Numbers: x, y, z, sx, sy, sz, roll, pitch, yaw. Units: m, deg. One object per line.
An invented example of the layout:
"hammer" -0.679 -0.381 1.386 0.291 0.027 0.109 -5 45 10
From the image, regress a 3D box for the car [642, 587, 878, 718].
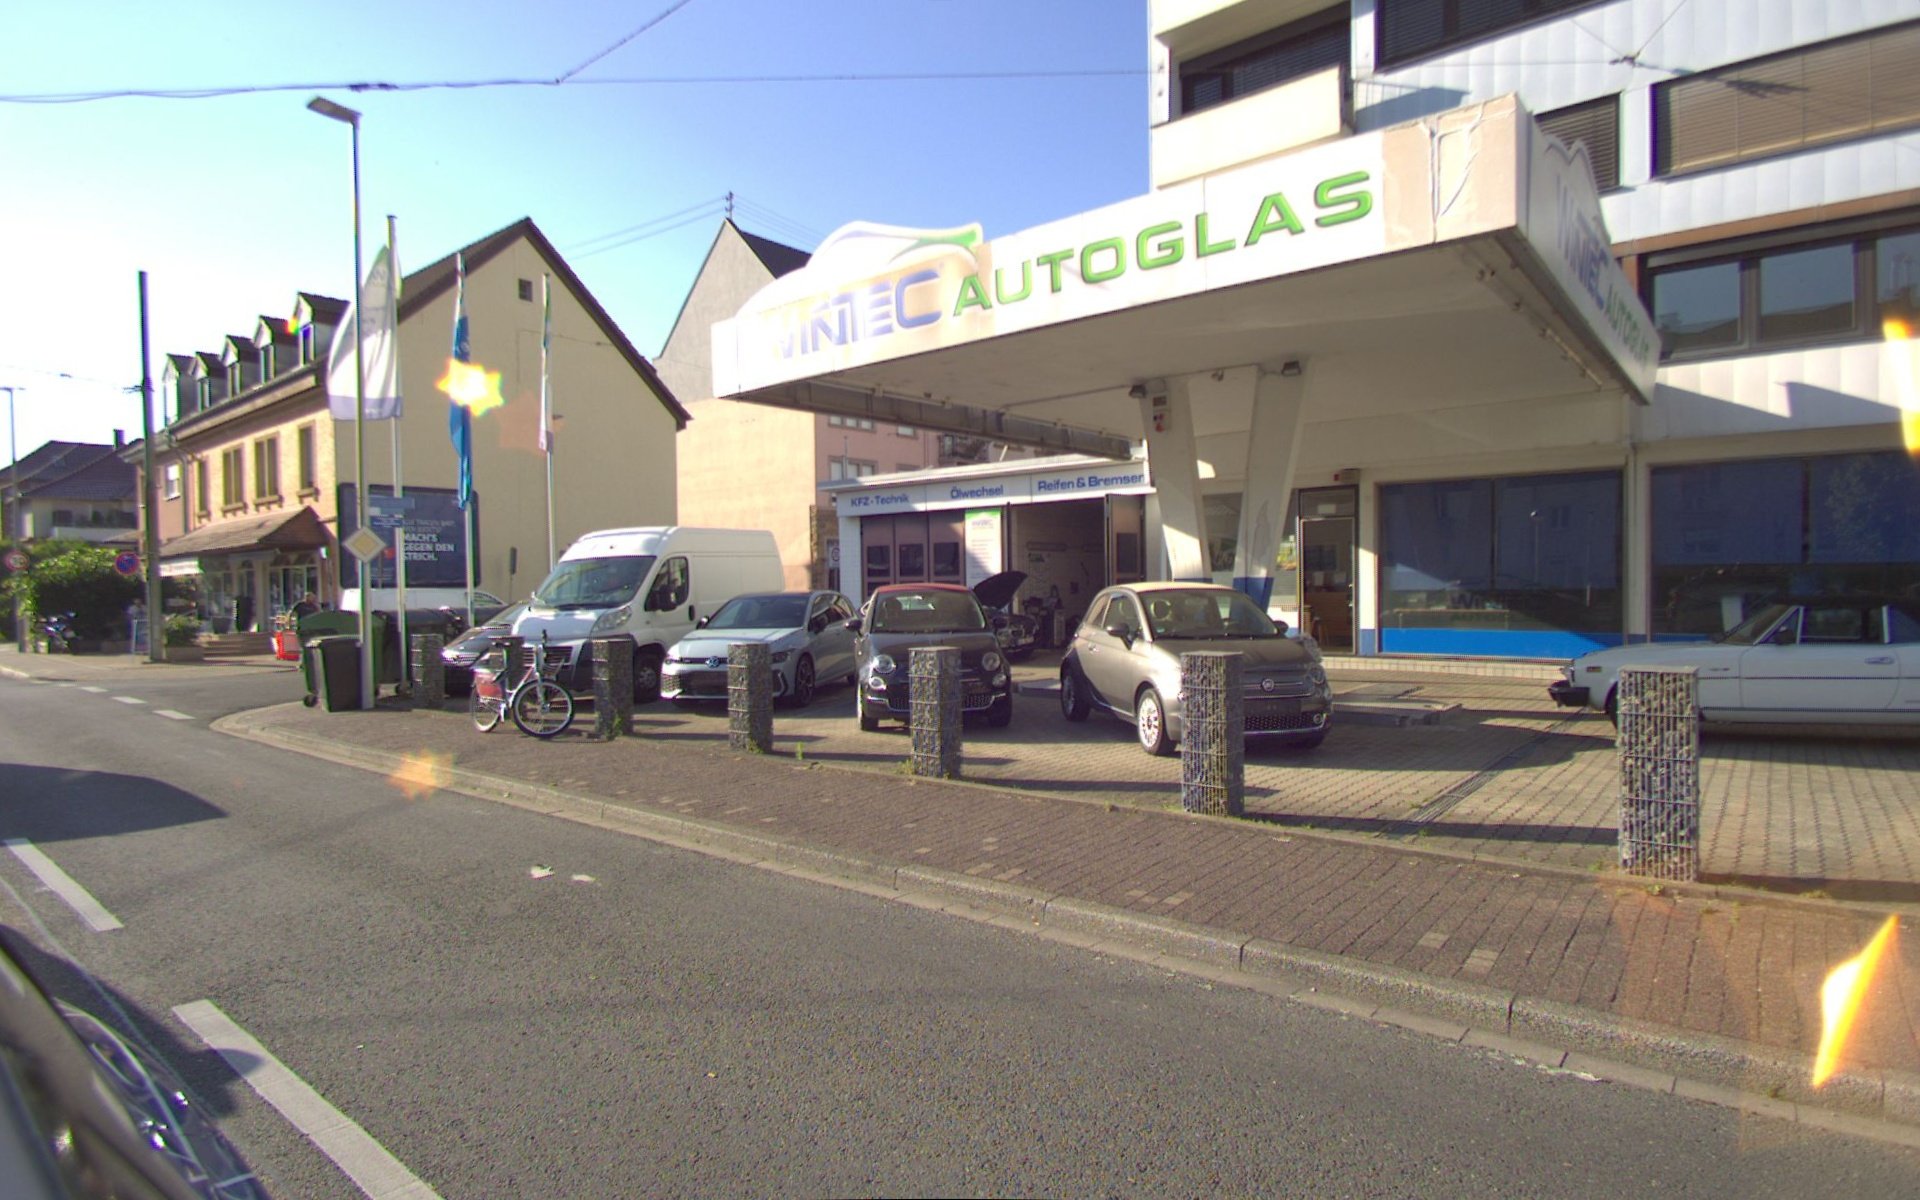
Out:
"car" -2.521 0.593 13.797 1.725 1.508 4.016 -1 0 12

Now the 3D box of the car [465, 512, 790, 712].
"car" -4.677 0.136 15.216 2.098 2.472 4.963 -1 0 18

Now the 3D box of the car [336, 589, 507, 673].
"car" -13.881 0.744 26.245 1.449 2.029 3.628 -1 0 37

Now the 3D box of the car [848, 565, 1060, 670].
"car" -0.195 0.326 20.912 4.255 1.958 1.720 -1 0 40

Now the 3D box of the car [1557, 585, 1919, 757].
"car" 7.396 0.547 8.563 3.898 1.308 1.506 -1 -1 37

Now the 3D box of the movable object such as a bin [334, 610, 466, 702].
"movable object such as a bin" -9.566 0.920 17.362 1.039 1.475 1.787 -1 0 15

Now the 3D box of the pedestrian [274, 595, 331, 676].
"pedestrian" -15.413 0.823 23.747 0.760 1.866 0.818 -1 0 17

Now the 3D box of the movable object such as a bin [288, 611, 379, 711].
"movable object such as a bin" -9.695 0.921 15.707 1.030 1.475 0.798 -1 0 -18

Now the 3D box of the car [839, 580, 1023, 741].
"car" -0.472 0.569 11.501 1.569 1.508 3.443 -1 0 -10

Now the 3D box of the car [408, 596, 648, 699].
"car" -7.051 0.708 17.001 1.725 1.488 4.016 -1 0 12

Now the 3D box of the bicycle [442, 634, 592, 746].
"bicycle" -4.885 0.945 11.115 1.789 1.094 0.716 -1 1 37

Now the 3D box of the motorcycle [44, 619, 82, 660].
"motorcycle" -27.955 1.209 31.523 2.186 1.226 0.699 -1 0 43

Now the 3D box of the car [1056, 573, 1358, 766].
"car" 2.164 0.540 9.786 1.517 1.497 3.381 -1 0 -11

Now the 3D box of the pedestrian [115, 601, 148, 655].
"pedestrian" -26.978 0.896 32.963 0.797 1.726 0.861 -1 0 -37
